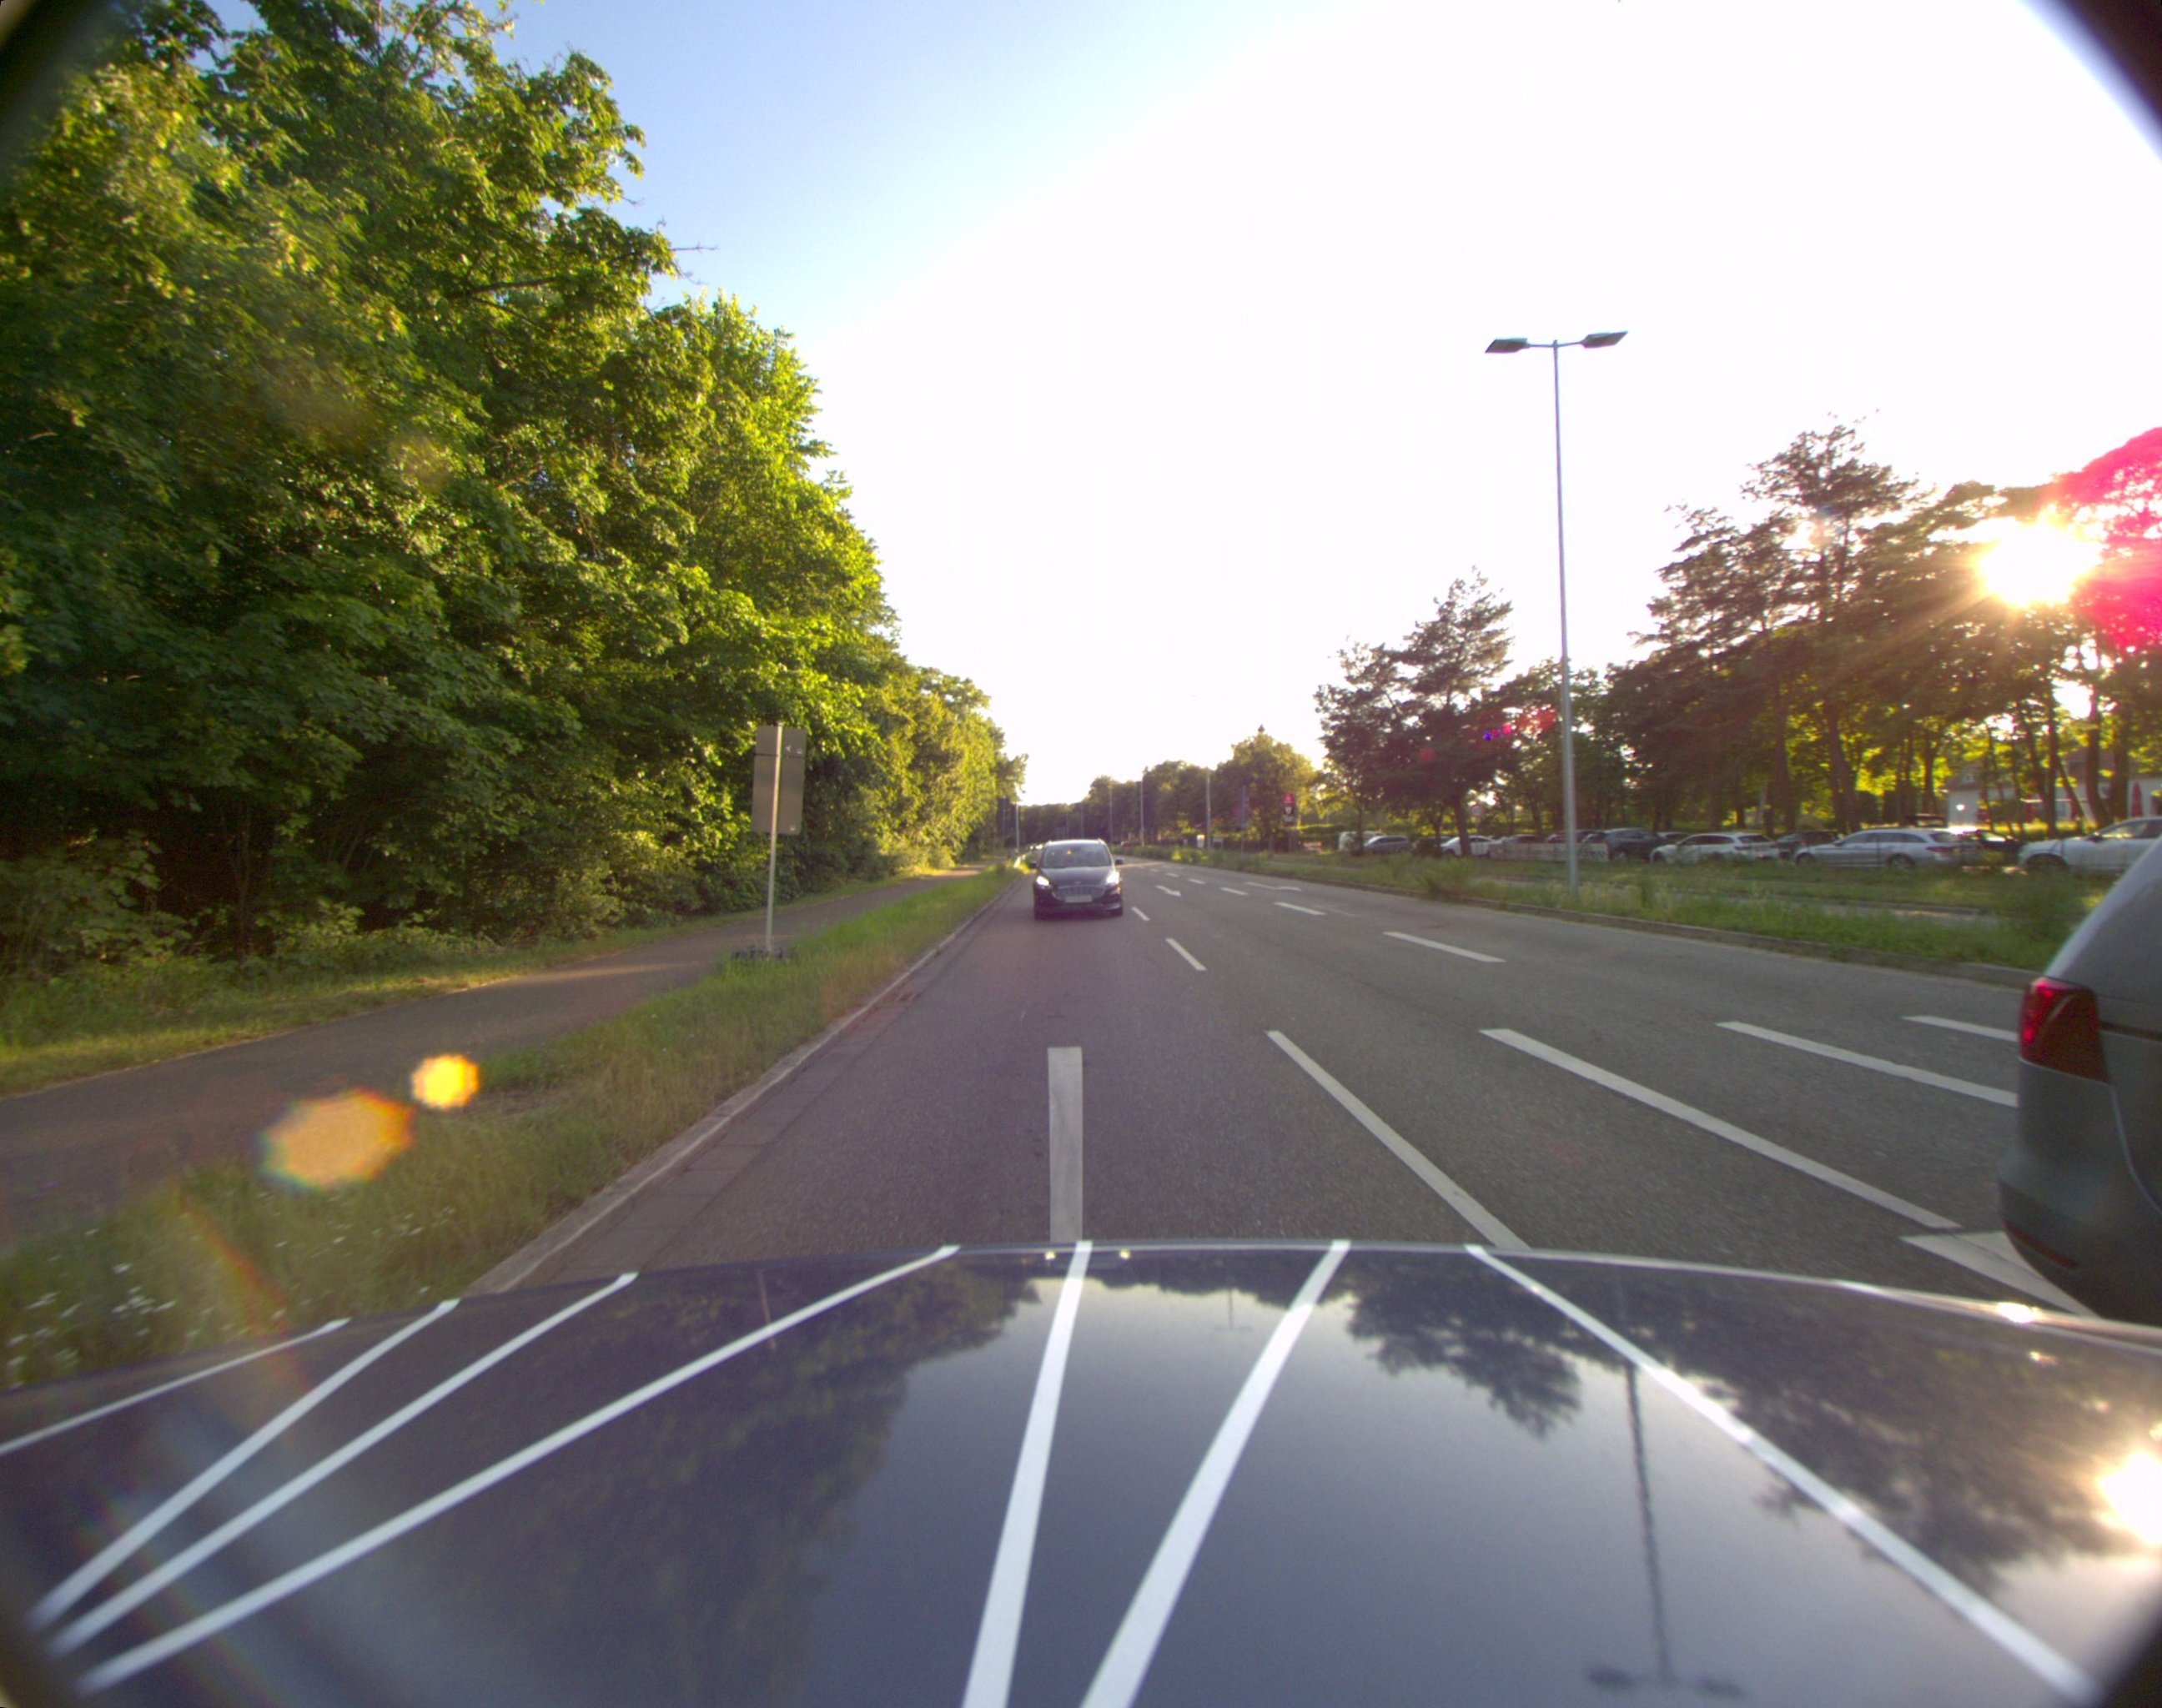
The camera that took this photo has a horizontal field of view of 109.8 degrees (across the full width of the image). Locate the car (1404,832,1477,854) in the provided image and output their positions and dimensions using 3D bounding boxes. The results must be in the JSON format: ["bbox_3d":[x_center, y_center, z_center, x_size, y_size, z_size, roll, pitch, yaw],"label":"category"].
[{"bbox_3d":[24.597,-0.752,52.072,4.169,1.470,1.782,-1,1,-3],"label":"car"}]

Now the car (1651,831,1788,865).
[{"bbox_3d":[26.188,-0.271,31.401,1.679,1.317,4.496,-1,1,-5],"label":"car"}]

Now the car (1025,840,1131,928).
[{"bbox_3d":[-0.114,0.548,17.444,2.011,1.652,4.819,-3,1,-1],"label":"car"}]

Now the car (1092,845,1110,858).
[{"bbox_3d":[2.315,-0.271,87.488,1.871,1.397,4.074,-2,1,0],"label":"car"}]

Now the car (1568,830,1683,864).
[{"bbox_3d":[25.155,-0.347,35.191,4.047,1.470,1.762,-1,1,1],"label":"car"}]

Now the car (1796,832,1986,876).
[{"bbox_3d":[26.521,-0.033,25.110,1.865,1.324,3.997,-1,1,-5],"label":"car"}]

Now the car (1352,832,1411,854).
[{"bbox_3d":[24.014,-0.894,60.855,3.997,1.628,1.825,-1,1,0],"label":"car"}]

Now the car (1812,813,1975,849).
[{"bbox_3d":[34.084,-0.941,32.090,1.865,1.399,4.545,-1,1,-5],"label":"car"}]

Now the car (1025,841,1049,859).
[{"bbox_3d":[-4.267,-0.417,74.168,1.999,1.615,4.395,-2,1,0],"label":"car"}]

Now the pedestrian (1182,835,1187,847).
[{"bbox_3d":[15.026,-1.939,110.529,0.567,1.736,0.676,-2,1,1],"label":"pedestrian"}]

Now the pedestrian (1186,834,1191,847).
[{"bbox_3d":[15.650,-1.979,110.541,0.567,1.765,0.676,-2,1,1],"label":"pedestrian"}]

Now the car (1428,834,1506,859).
[{"bbox_3d":[24.945,-0.489,49.177,4.169,1.470,1.782,-1,1,-3],"label":"car"}]

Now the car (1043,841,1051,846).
[{"bbox_3d":[-9.477,-2.829,210.754,1.746,1.281,3.740,-1,1,-9],"label":"car"}]

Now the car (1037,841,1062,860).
[{"bbox_3d":[-2.850,-0.315,69.415,1.999,1.615,4.395,-2,1,0],"label":"car"}]

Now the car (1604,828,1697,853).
[{"bbox_3d":[33.391,-0.793,44.716,1.865,1.399,4.545,-1,1,-5],"label":"car"}]

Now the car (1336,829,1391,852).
[{"bbox_3d":[23.726,-1.140,63.939,3.997,1.854,1.825,-1,1,0],"label":"car"}]

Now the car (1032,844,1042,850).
[{"bbox_3d":[-10.740,-1.653,184.616,1.872,1.397,4.071,-3,1,-11],"label":"car"}]

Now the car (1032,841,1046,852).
[{"bbox_3d":[-6.682,-1.206,122.337,1.999,1.615,4.395,-2,1,0],"label":"car"}]

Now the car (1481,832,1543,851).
[{"bbox_3d":[32.594,-0.949,57.673,1.865,1.399,4.545,-1,1,-5],"label":"car"}]

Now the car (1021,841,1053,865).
[{"bbox_3d":[-3.143,-0.107,54.751,1.999,1.615,4.395,-2,1,0],"label":"car"}]

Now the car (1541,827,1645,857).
[{"bbox_3d":[26.015,-0.607,38.692,3.998,1.445,1.999,-1,1,-3],"label":"car"}]

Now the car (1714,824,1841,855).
[{"bbox_3d":[34.234,-0.719,37.545,1.865,1.399,4.545,-1,1,-5],"label":"car"}]
